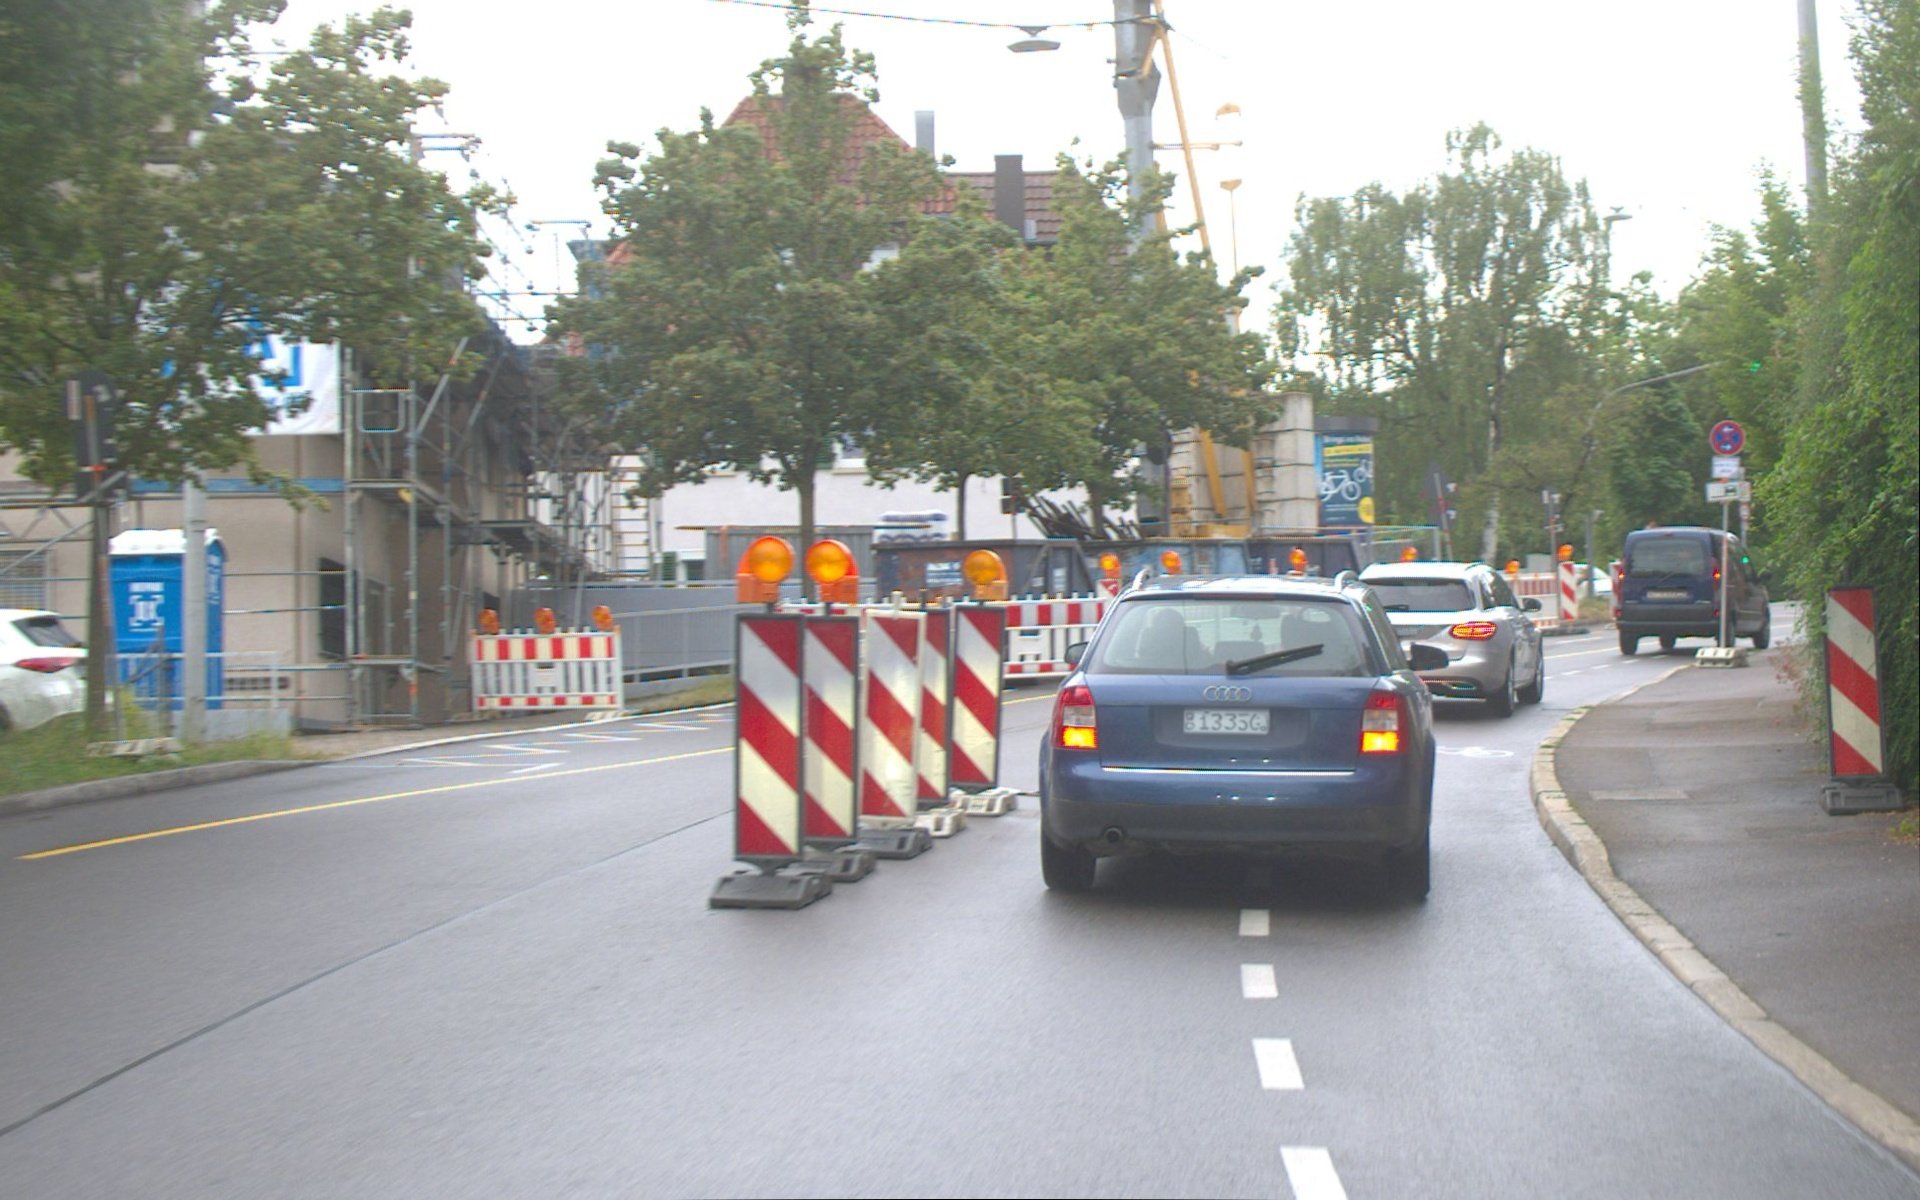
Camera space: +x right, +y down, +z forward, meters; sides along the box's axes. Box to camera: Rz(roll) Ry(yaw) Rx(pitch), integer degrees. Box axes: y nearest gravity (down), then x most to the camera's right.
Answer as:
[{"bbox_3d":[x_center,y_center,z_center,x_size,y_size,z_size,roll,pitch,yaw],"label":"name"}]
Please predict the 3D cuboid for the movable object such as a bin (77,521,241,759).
[{"bbox_3d":[-8.655,0.415,37.215,1.312,2.497,1.386,-1,0,4],"label":"movable object such as a bin"}]

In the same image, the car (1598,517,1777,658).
[{"bbox_3d":[10.769,-0.218,50.717,1.732,1.888,4.050,-4,0,23],"label":"car"}]

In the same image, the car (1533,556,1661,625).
[{"bbox_3d":[16.950,-0.238,91.624,1.683,1.504,4.012,-5,-2,-15],"label":"car"}]

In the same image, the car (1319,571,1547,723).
[{"bbox_3d":[4.701,0.409,33.682,1.910,1.384,4.348,0,0,12],"label":"car"}]

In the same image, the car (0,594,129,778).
[{"bbox_3d":[-10.051,0.899,31.662,4.197,1.599,1.950,-4,-1,2],"label":"car"}]

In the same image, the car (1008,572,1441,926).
[{"bbox_3d":[1.325,0.608,16.362,1.777,1.434,3.999,1,0,6],"label":"car"}]

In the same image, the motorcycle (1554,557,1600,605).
[{"bbox_3d":[15.257,-0.474,84.961,0.591,1.127,1.841,-4,0,25],"label":"motorcycle"}]
